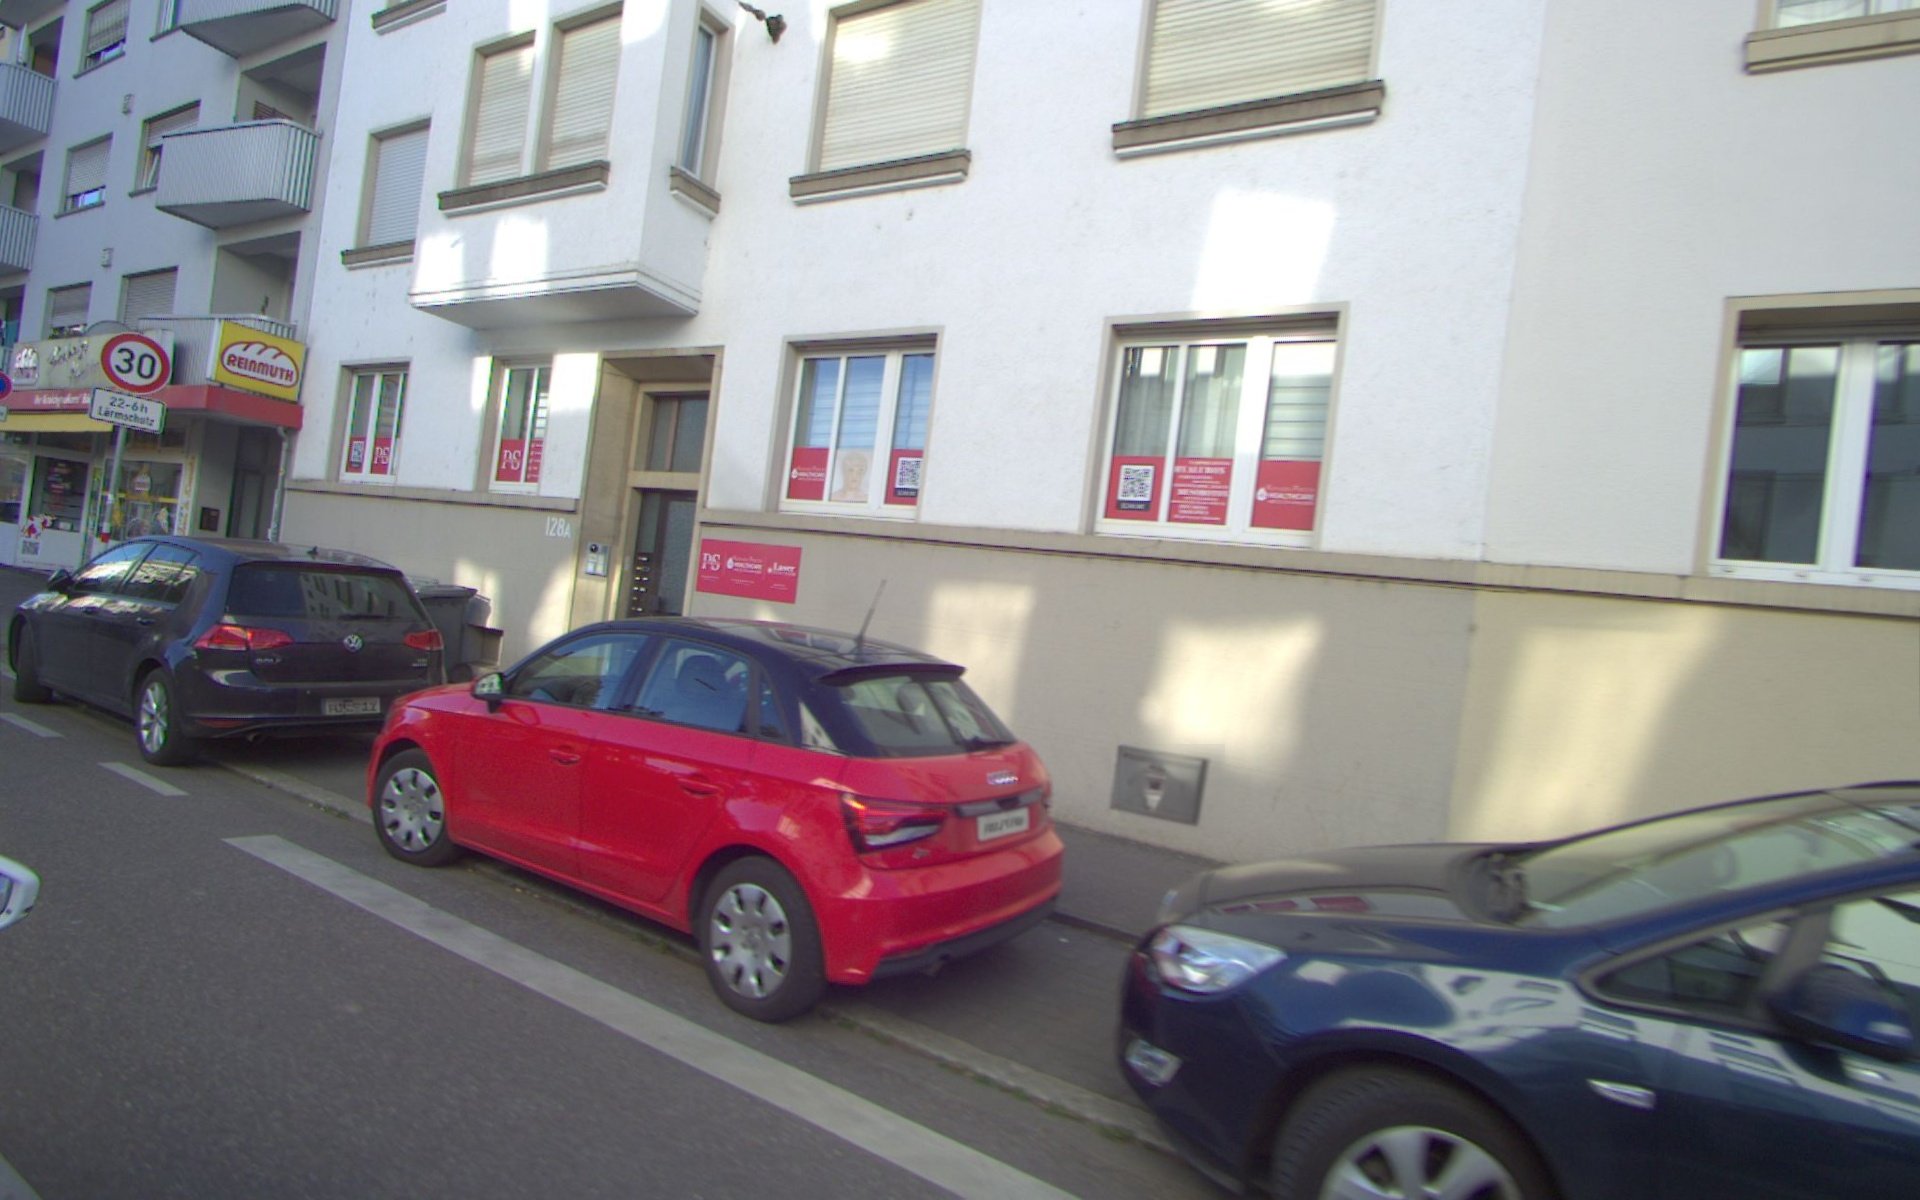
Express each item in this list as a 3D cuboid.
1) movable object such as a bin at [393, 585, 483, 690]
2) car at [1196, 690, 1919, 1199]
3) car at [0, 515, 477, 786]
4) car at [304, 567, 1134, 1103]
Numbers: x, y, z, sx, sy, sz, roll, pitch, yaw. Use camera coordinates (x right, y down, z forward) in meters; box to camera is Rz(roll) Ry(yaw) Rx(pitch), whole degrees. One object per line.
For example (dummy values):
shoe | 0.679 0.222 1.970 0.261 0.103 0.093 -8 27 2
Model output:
movable object such as a bin | -5.752 0.416 11.093 0.545 1.069 0.559 7 -1 31
car | 2.820 1.260 2.225 4.029 1.527 1.858 6 1 33
car | -5.834 0.241 7.814 4.287 1.425 1.711 6 1 33
car | -1.363 0.791 5.158 3.924 1.492 1.858 6 1 33
